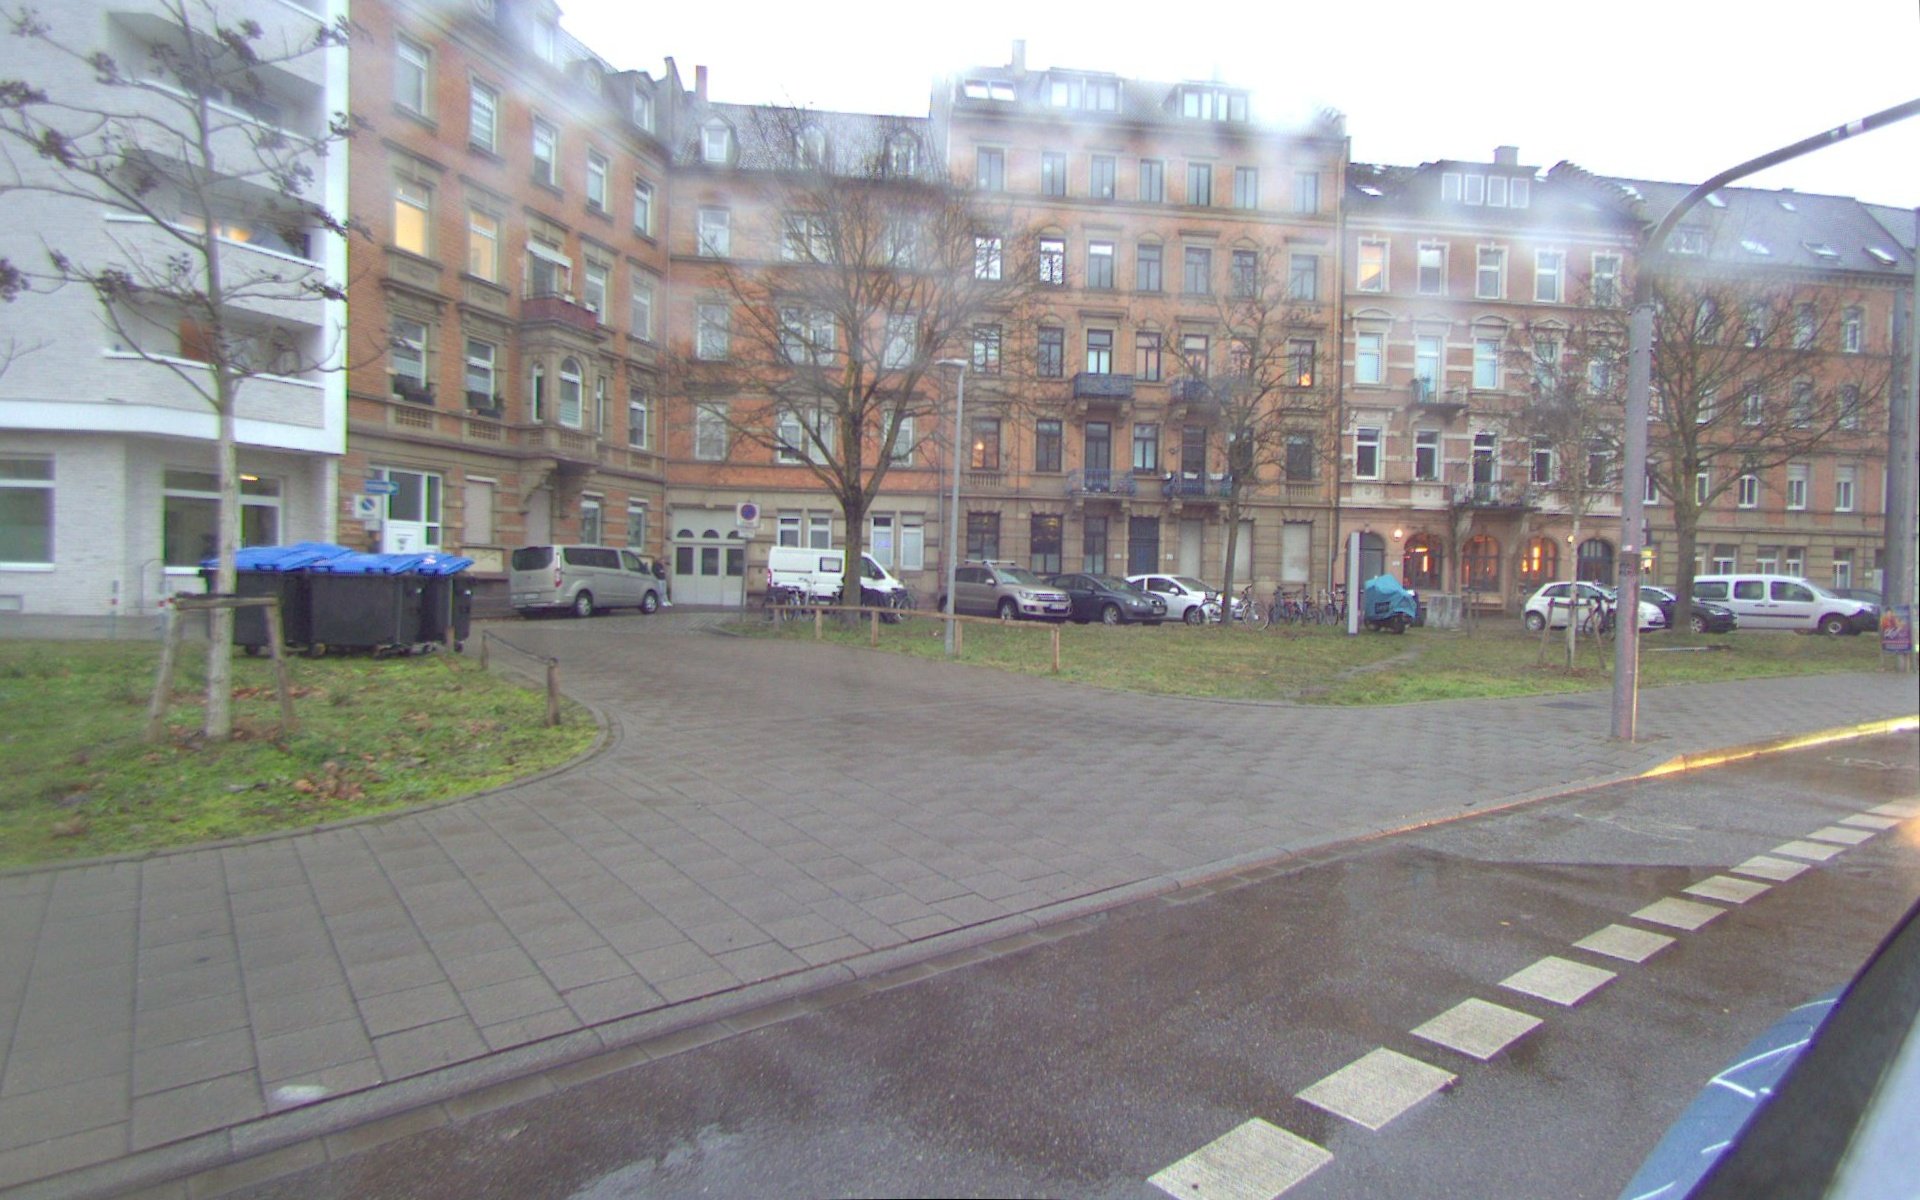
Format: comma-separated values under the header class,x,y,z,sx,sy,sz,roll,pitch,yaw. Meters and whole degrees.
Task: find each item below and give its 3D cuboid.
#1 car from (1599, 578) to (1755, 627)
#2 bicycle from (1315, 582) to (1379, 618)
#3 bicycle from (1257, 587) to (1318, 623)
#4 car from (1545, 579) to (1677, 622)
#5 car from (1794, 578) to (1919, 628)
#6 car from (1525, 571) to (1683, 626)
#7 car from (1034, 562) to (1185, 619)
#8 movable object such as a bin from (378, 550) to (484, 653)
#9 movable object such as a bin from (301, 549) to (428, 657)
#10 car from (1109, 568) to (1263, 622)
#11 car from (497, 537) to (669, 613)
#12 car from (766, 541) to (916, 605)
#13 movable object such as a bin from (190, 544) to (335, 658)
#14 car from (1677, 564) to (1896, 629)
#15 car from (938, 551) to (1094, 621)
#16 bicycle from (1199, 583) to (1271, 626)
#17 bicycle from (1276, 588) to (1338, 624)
class,x,y,z,sx,sy,sz,roll,pitch,yaw
car,20.994,0.052,29.735,1.634,1.368,3.430,1,0,-39
bicycle,11.194,-0.023,29.370,0.613,0.978,2.176,1,2,-13
bicycle,9.427,0.140,29.250,0.613,0.978,2.175,3,-1,-13
car,24.236,0.047,37.733,3.967,1.520,1.740,1,-1,-9
car,27.094,0.111,29.403,1.737,1.250,4.066,2,3,-35
car,18.368,-0.030,28.985,1.583,1.461,3.467,1,0,-34
car,3.894,-0.243,26.695,1.649,1.372,3.737,2,0,-42
movable object such as a bin,-7.999,0.029,15.341,1.022,1.509,1.035,0,-1,6
movable object such as a bin,-8.328,0.025,14.205,1.200,1.433,1.018,1,2,-3
car,6.076,-0.168,27.559,1.669,1.353,3.852,0,1,-42
car,-10.510,-0.611,28.625,1.976,1.943,4.715,-1,-1,21
car,-4.047,-0.926,34.497,4.886,2.038,2.003,1,2,-7
movable object such as a bin,-9.652,0.005,14.064,1.304,1.514,1.031,1,1,0
car,24.087,-0.172,29.669,1.745,1.611,4.663,0,3,-37
car,1.379,-0.430,26.394,1.908,1.656,3.999,-1,3,-37
bicycle,6.631,0.103,24.423,1.628,0.948,0.512,2,1,15
bicycle,10.052,0.161,29.405,0.613,0.978,2.175,3,-1,-13
